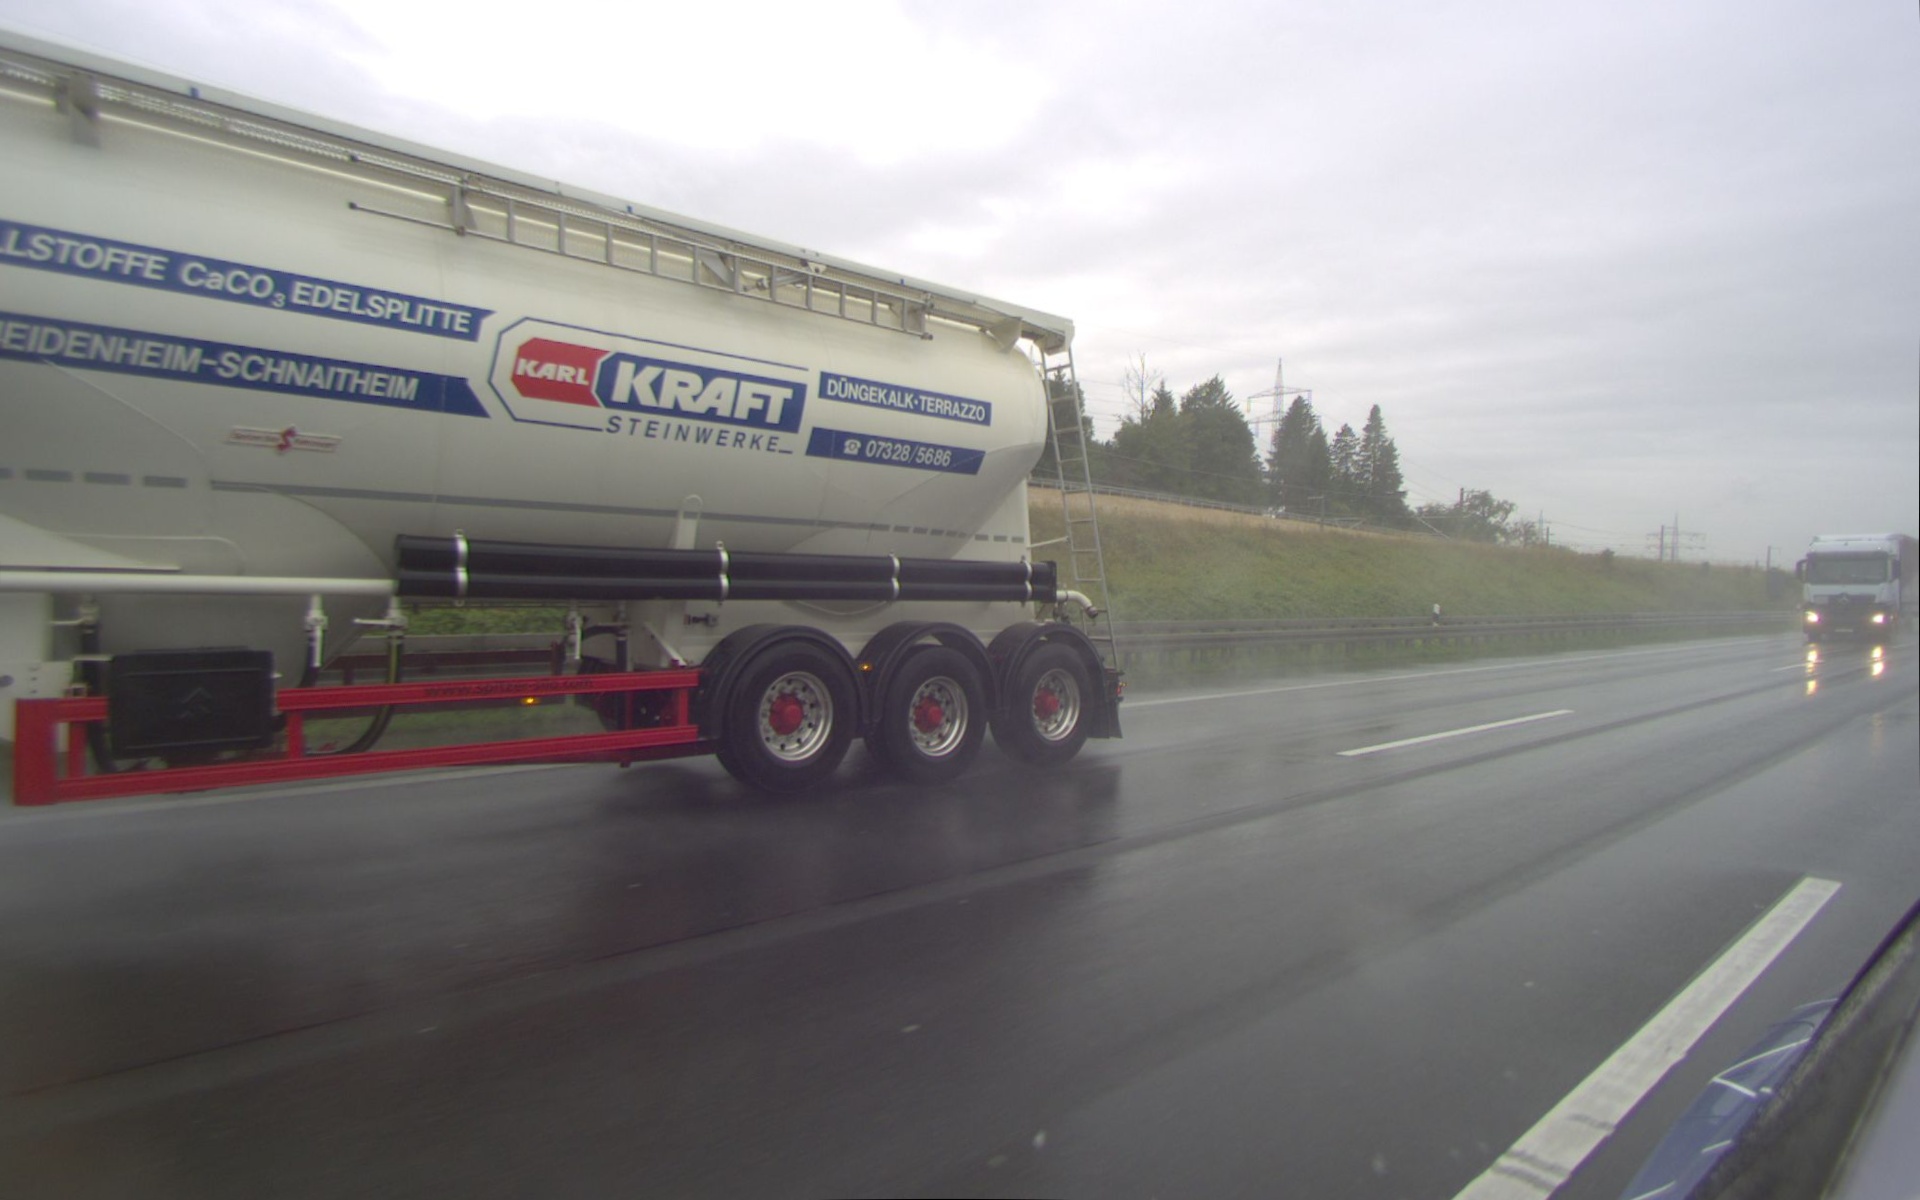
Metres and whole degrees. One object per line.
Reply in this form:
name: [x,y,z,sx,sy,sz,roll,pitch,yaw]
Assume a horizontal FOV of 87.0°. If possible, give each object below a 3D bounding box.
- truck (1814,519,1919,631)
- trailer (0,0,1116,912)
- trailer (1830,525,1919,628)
truck: [34.590,-0.848,38.336,6.089,3.939,2.456,1,-1,-40]
trailer: [-3.539,-0.677,6.183,10.873,3.932,2.501,1,-1,-41]
trailer: [40.762,-0.787,43.708,16.253,3.813,2.484,1,-1,-41]
